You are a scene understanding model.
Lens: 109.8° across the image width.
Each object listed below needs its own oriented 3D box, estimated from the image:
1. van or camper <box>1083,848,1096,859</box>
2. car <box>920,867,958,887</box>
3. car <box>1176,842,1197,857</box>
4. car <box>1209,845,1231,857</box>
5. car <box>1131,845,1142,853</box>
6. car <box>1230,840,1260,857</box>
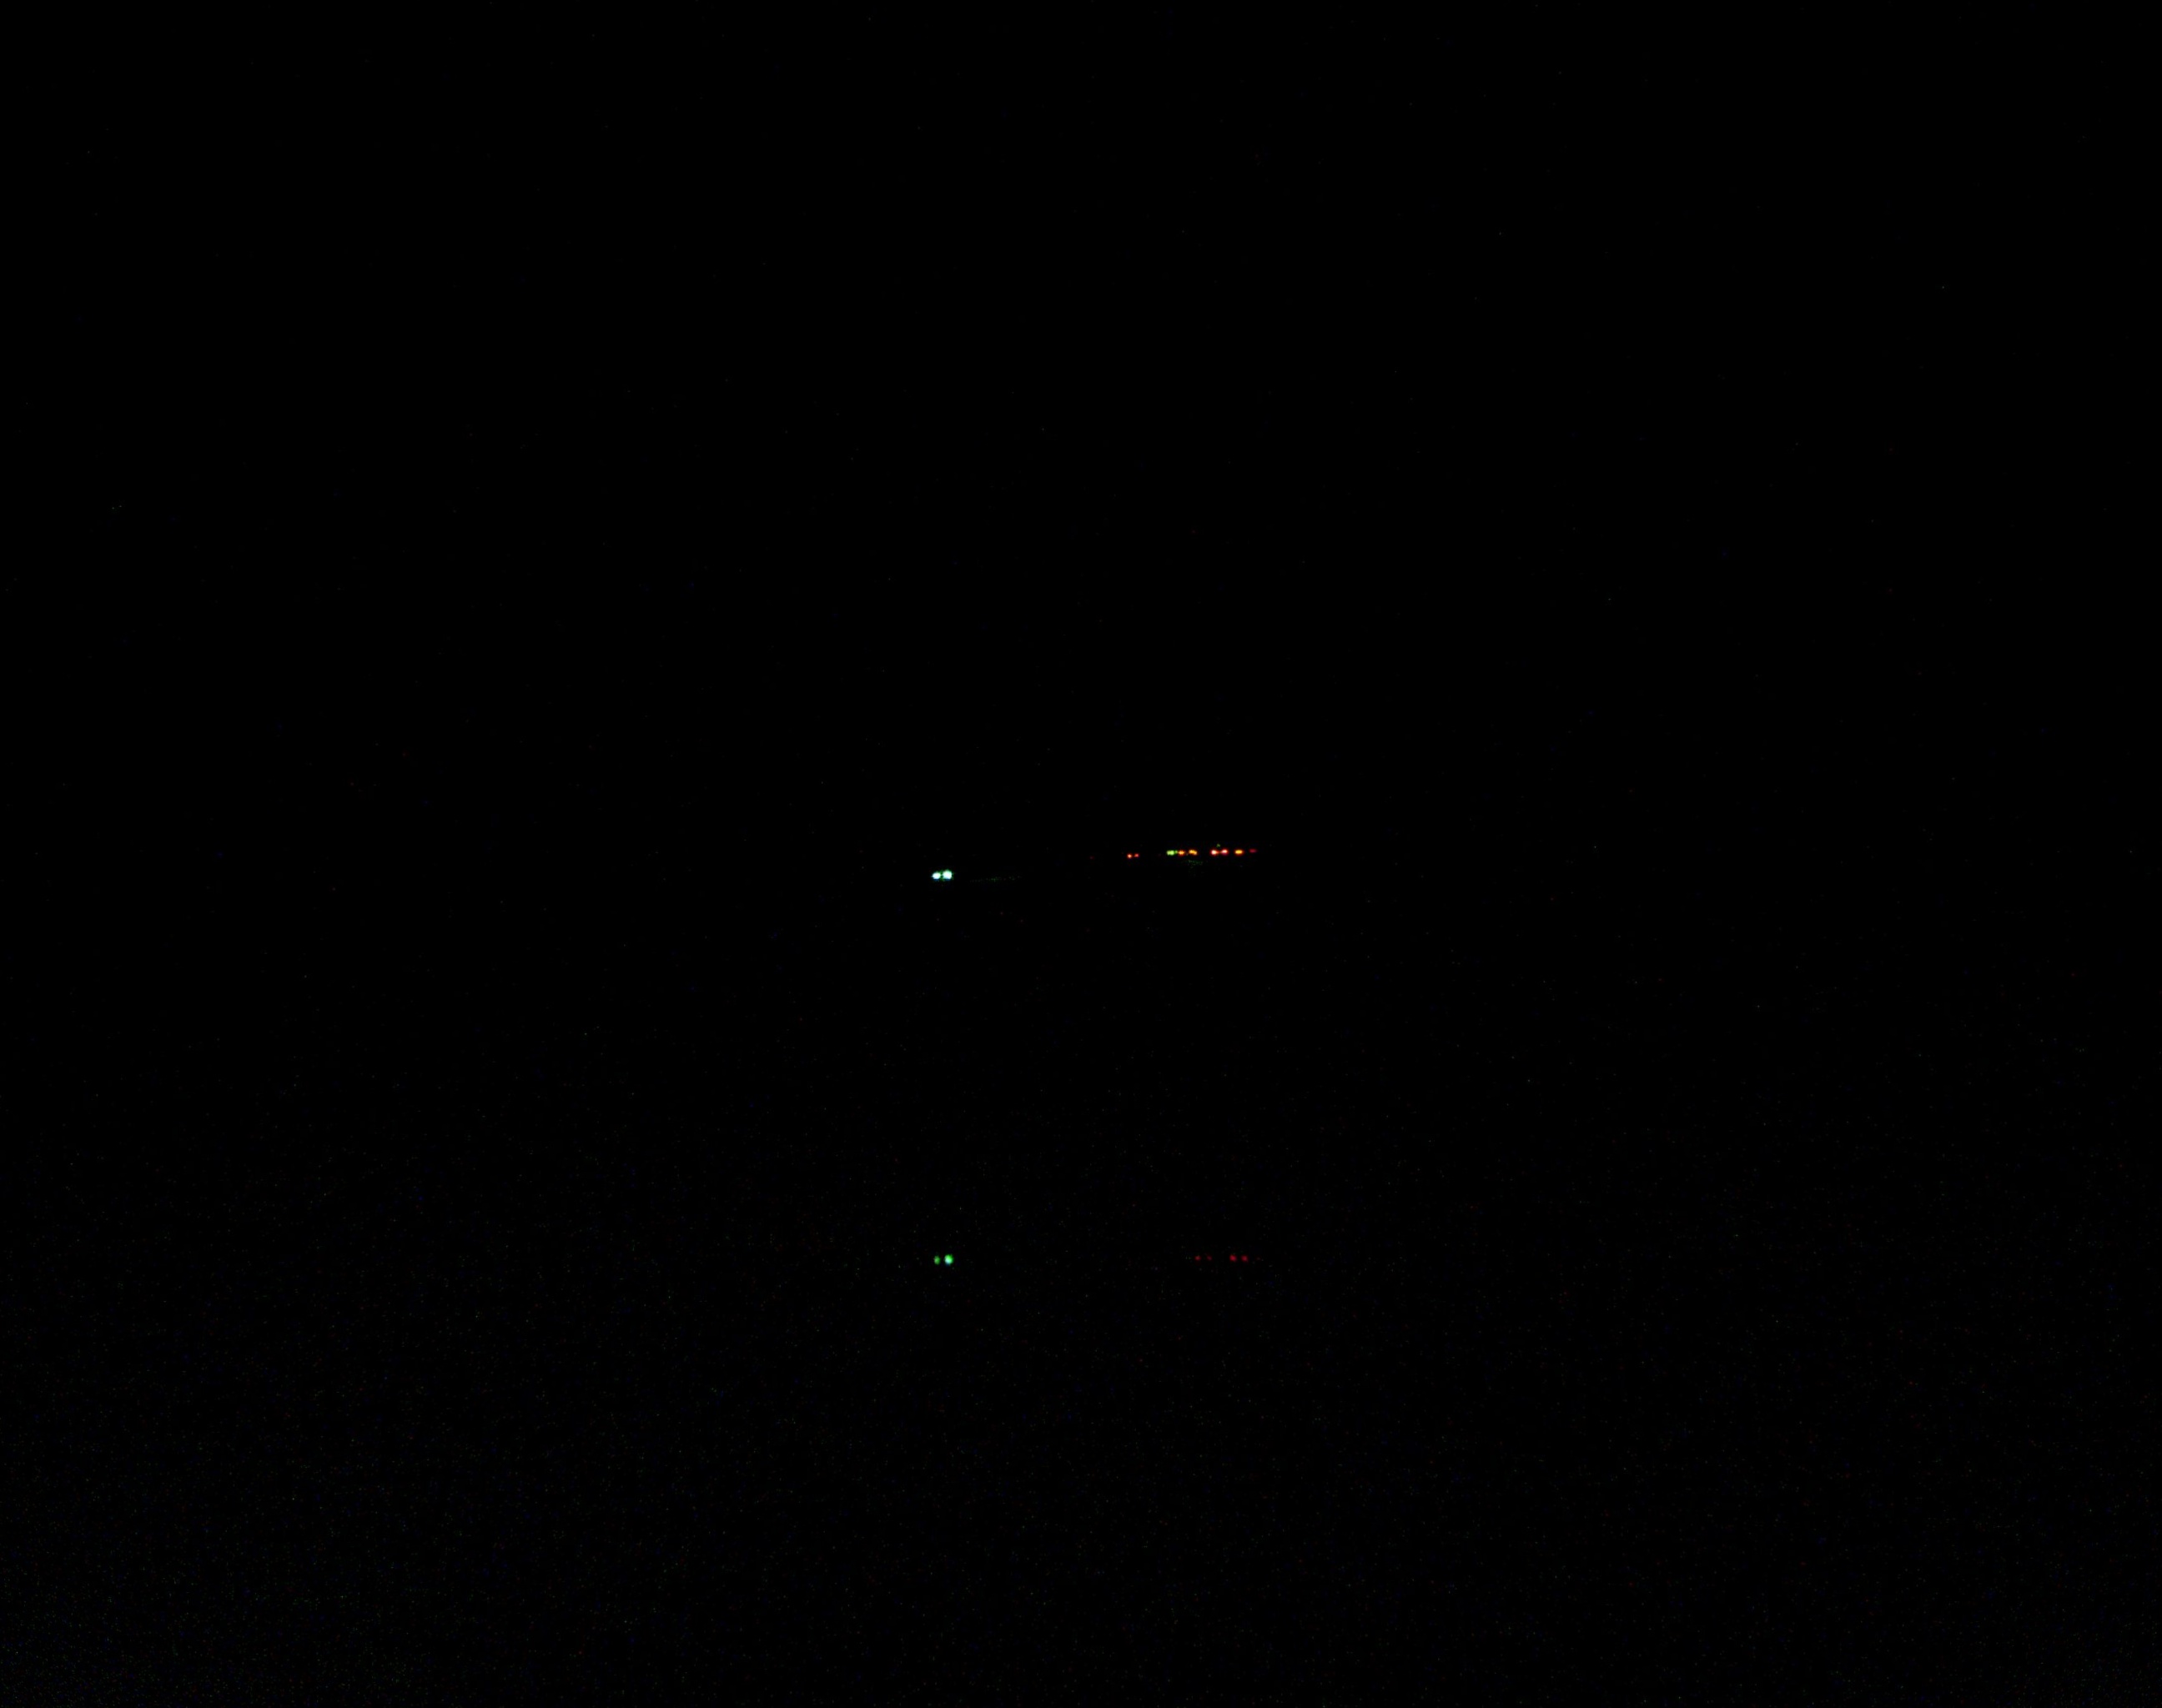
[{"bbox_3d":[2.231,-0.056,201.750,2.301,2.602,7.662,-4,0,-5],"label":"van or camper"},{"bbox_3d":[-16.386,2.670,87.627,3.990,1.843,2.003,-5,1,36],"label":"car"},{"bbox_3d":[13.178,-0.493,95.272,1.963,1.723,5.079,-3,0,1],"label":"car"},{"bbox_3d":[18.486,-0.402,101.087,1.776,1.403,4.843,-5,0,-1],"label":"car"},{"bbox_3d":[11.089,-0.990,152.487,1.963,1.448,4.471,-3,0,1],"label":"car"},{"bbox_3d":[15.660,-0.502,72.630,1.963,1.448,4.336,-3,0,1],"label":"car"}]
